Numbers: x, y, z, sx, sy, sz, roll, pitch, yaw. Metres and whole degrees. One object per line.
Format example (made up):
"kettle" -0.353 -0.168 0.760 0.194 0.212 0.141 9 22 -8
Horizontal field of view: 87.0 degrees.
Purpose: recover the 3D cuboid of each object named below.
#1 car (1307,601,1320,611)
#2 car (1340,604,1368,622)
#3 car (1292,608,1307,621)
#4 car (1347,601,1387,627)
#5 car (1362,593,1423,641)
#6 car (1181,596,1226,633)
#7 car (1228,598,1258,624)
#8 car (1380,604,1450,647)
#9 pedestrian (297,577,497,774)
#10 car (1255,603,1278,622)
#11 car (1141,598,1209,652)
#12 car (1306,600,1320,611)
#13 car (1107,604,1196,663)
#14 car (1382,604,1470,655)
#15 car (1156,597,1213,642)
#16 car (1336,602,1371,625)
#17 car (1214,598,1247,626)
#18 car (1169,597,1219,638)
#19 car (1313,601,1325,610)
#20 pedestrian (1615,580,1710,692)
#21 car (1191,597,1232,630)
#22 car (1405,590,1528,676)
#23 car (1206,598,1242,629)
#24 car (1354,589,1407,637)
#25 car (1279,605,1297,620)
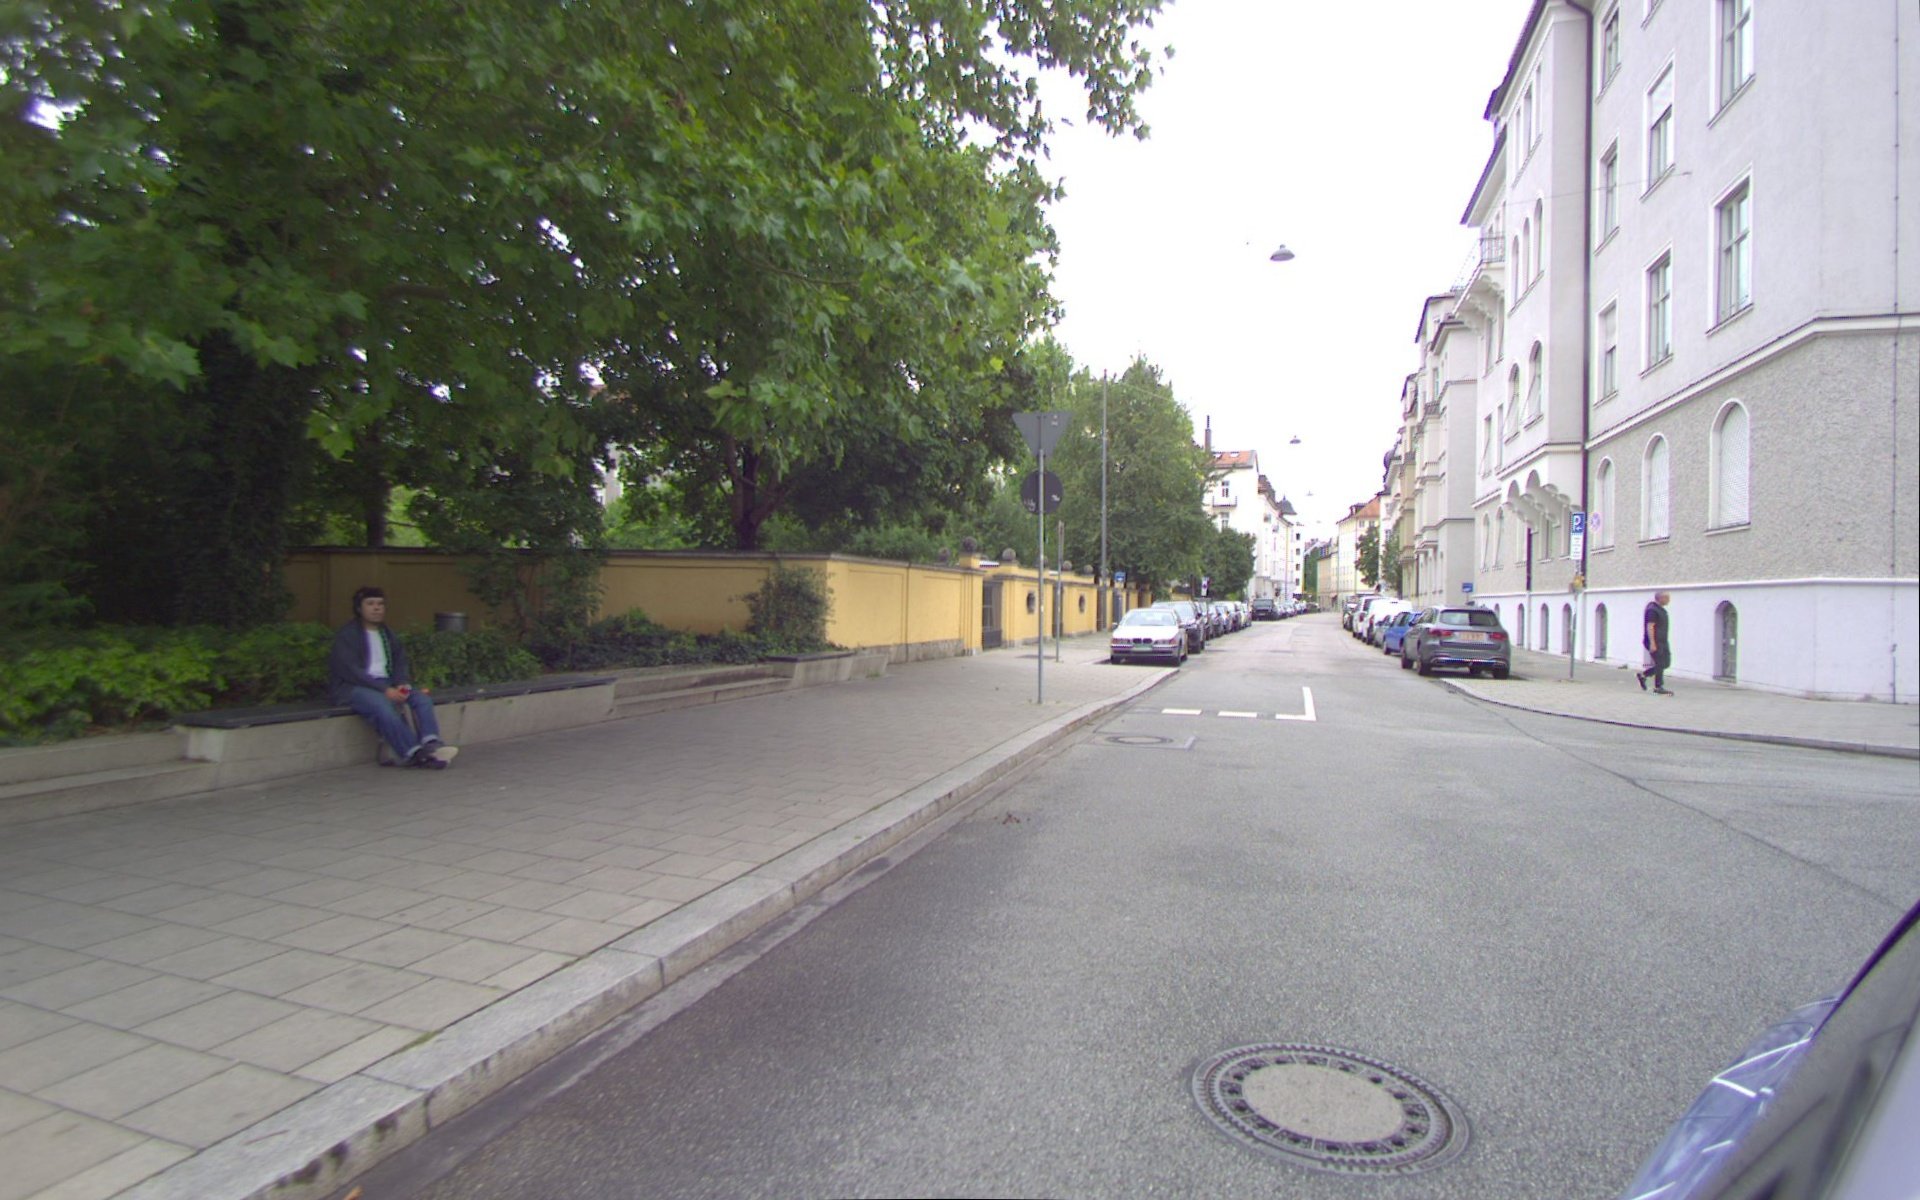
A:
"car" 56.319 0.877 161.292 1.772 1.566 3.590 0 0 17
"car" 32.330 1.043 83.117 1.793 1.444 3.820 0 0 16
"car" 44.408 1.908 132.529 1.772 1.566 3.590 0 0 17
"car" 23.741 0.800 59.159 1.793 1.444 3.820 0 0 16
"car" 17.244 0.639 40.479 1.772 1.806 3.820 0 0 16
"car" 10.827 0.606 44.857 1.772 1.566 3.286 0 0 17
"car" 18.046 0.686 64.502 1.772 1.566 3.286 0 0 17
"car" 16.249 0.854 36.314 1.772 1.422 3.820 0 0 16
"pedestrian" -4.223 0.524 7.626 1.117 1.374 0.767 0 0 19
"car" 25.732 1.025 84.933 1.772 1.566 3.590 0 0 17
"car" 6.850 0.741 32.032 1.772 1.566 3.935 0 0 17
"car" 54.681 0.859 156.784 1.772 1.566 3.590 0 0 17
"car" 5.077 0.803 26.435 1.777 1.386 4.440 0 0 18
"car" 14.431 0.867 31.544 1.866 1.422 4.229 0 0 16
"car" 8.414 0.681 37.780 1.772 1.566 3.935 0 0 17
"car" 26.167 0.860 67.398 1.793 1.444 3.820 0 0 16
"car" 16.011 0.683 59.814 1.772 1.566 3.286 0 0 17
"car" 9.630 0.683 41.496 1.772 1.566 3.286 0 0 17
"car" 58.931 0.889 166.091 1.772 1.566 3.590 0 0 17
"pedestrian" 11.780 0.581 16.981 0.979 1.824 0.932 0 0 -23
"car" 12.241 0.635 49.195 1.772 1.566 3.286 0 0 17
"car" 11.822 0.701 23.902 1.867 1.818 4.228 0 0 17
"car" 14.250 0.707 54.559 1.772 1.566 3.286 0 0 17
"car" 19.181 0.556 46.305 1.793 2.061 4.014 0 0 16
"car" 35.620 1.355 109.881 1.772 1.566 3.590 0 0 17
